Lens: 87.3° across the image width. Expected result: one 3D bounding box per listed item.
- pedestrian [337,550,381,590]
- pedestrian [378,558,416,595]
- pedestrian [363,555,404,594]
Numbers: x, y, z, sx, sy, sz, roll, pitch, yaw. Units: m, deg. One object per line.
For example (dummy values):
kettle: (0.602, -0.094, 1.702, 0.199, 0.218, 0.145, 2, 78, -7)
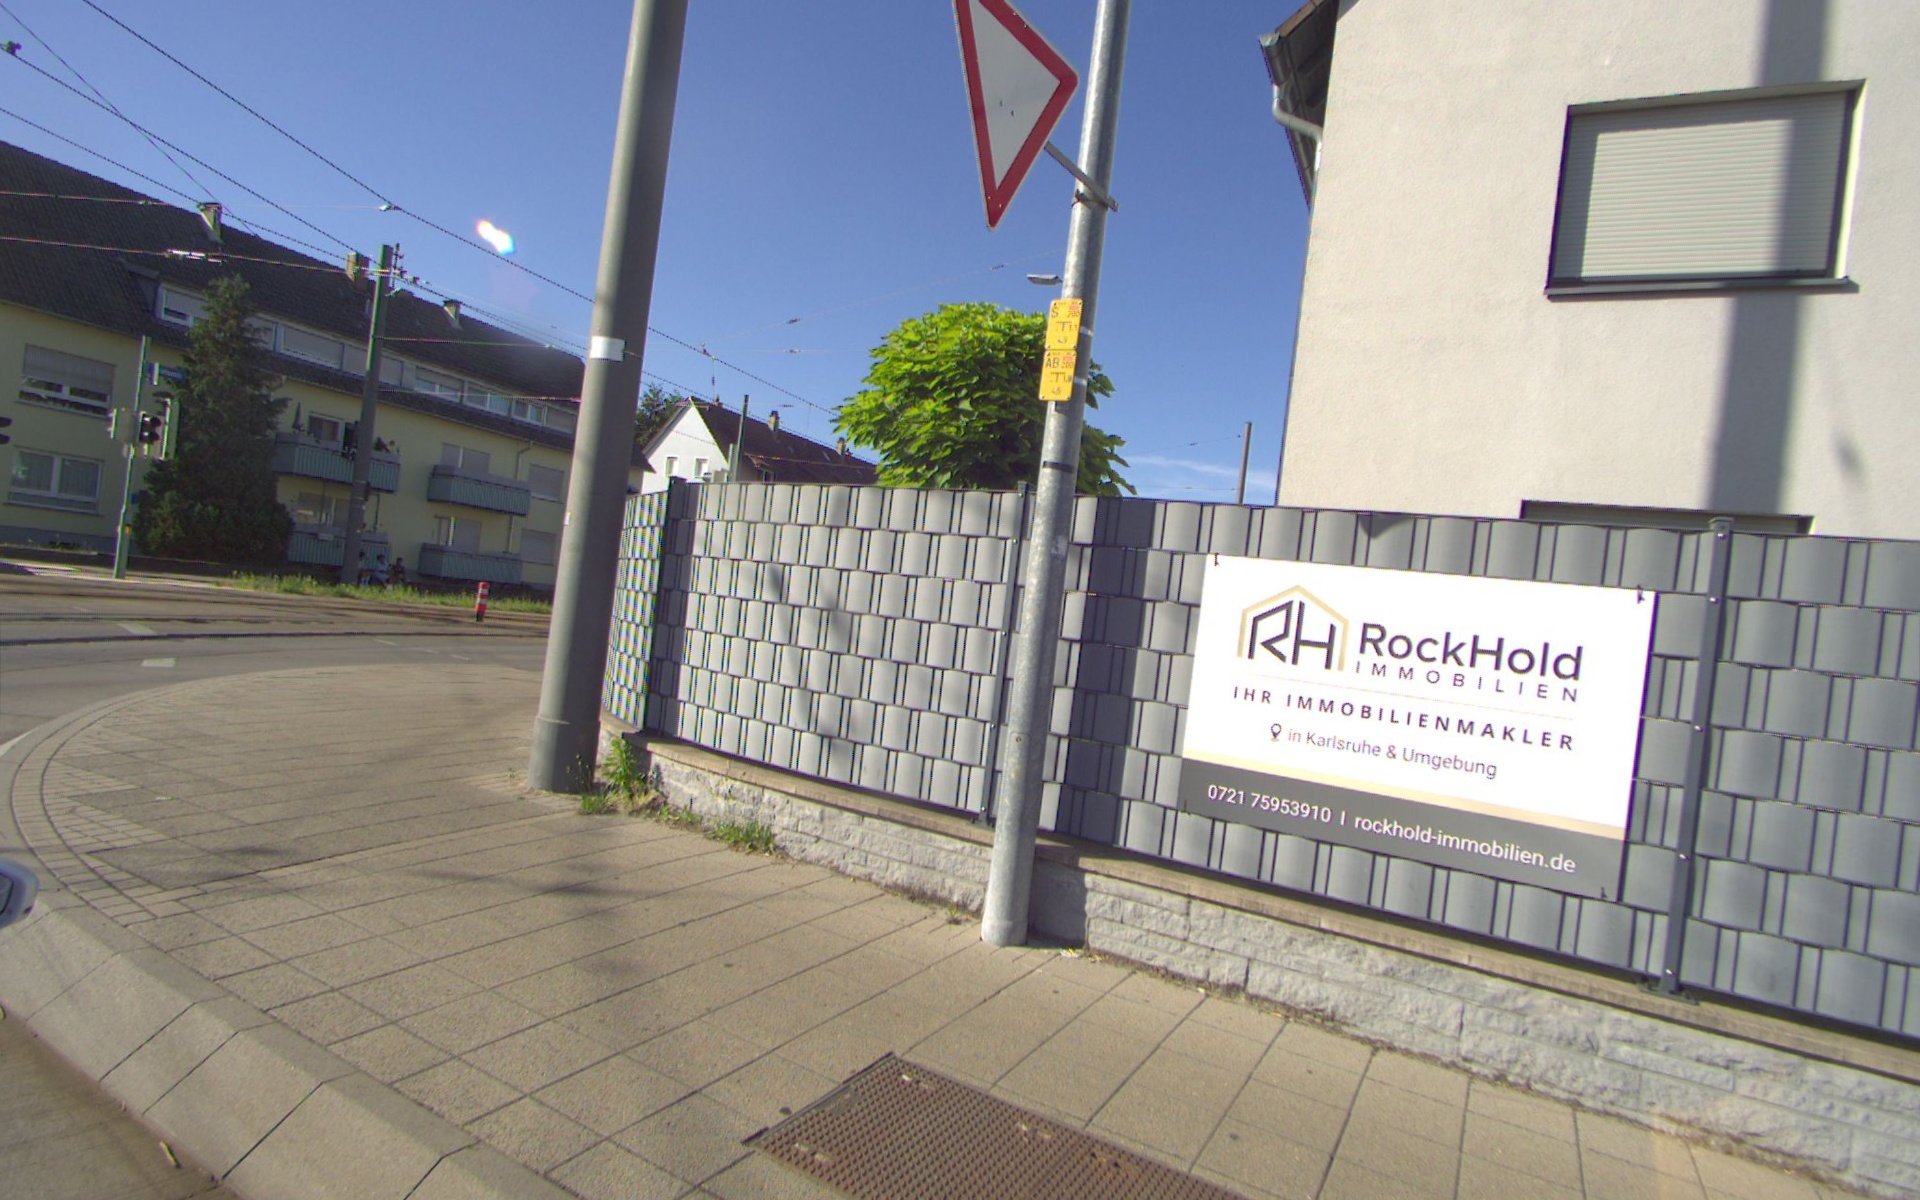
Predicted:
pedestrian: (-18.081, -0.892, 30.265, 0.805, 1.059, 0.688, 7, -1, 24)
pedestrian: (-17.722, -0.743, 31.667, 0.710, 1.017, 0.596, 8, -1, 3)
pedestrian: (-17.810, -0.786, 31.082, 0.806, 1.077, 0.626, 8, -1, -6)
